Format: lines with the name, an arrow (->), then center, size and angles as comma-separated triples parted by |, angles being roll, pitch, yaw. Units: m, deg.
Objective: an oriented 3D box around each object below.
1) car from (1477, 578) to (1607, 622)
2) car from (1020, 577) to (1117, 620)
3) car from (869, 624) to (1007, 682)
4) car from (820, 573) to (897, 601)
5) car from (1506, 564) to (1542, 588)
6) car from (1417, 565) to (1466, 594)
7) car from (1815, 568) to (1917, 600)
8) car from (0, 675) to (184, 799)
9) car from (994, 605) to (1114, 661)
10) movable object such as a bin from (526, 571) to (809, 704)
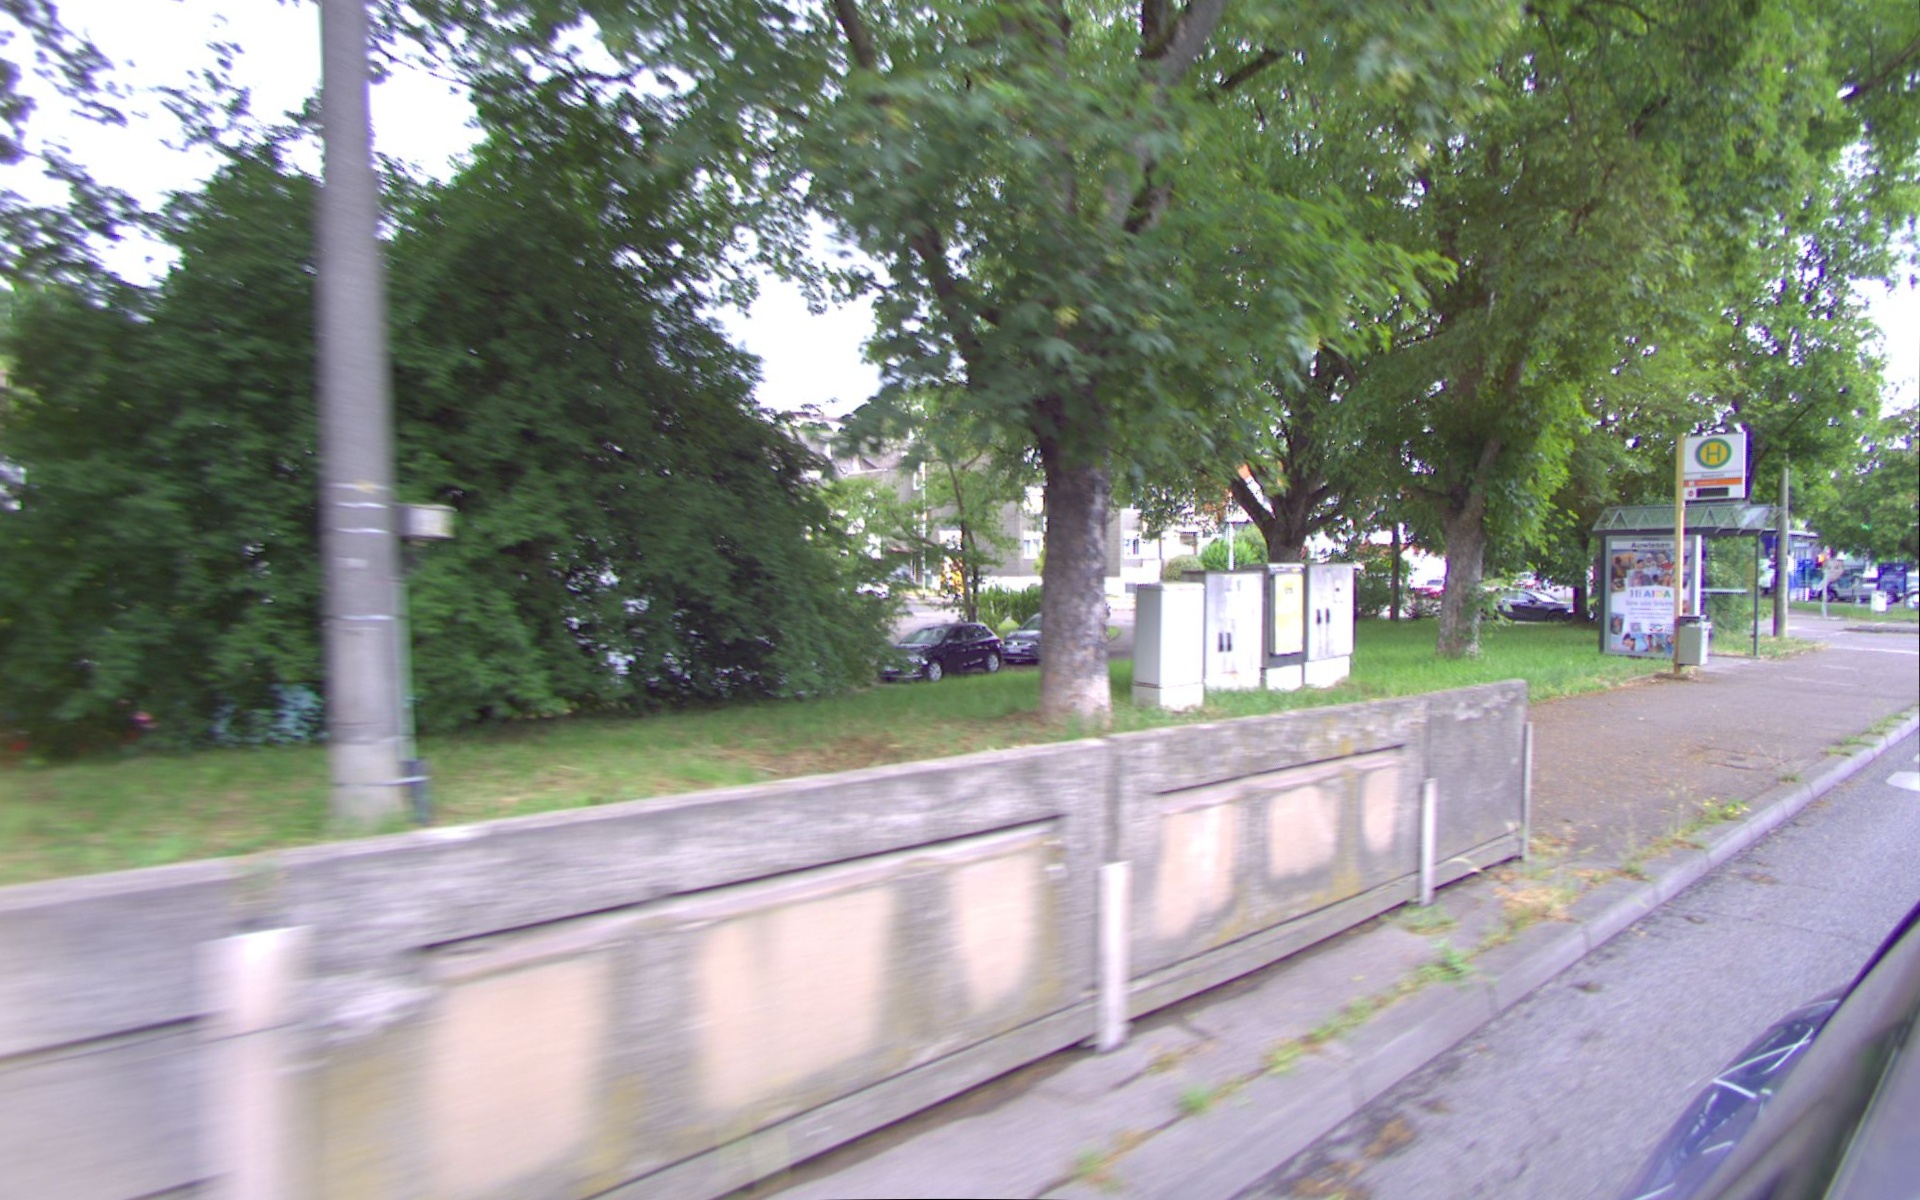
car -> 22.916, -0.063, 40.019 | 1.671, 1.544, 4.170 | -2, 3, -32
car -> 4.799, -0.075, 44.694 | 3.944, 1.788, 1.990 | -1, 0, 17
car -> -0.520, 1.364, 27.050 | 1.618, 1.262, 3.805 | -1, 1, 39
car -> -5.779, -0.785, 57.884 | 3.952, 1.536, 1.986 | 1, 1, 22
car -> 47.244, -2.030, 84.708 | 1.938, 1.865, 4.192 | -1, 1, 39
car -> 32.829, -1.382, 68.981 | 3.856, 1.865, 1.618 | -2, 1, -41
car -> 53.664, -0.983, 60.045 | 4.183, 1.718, 1.819 | 3, 3, 34
car -> -12.432, 1.817, 13.228 | 1.414, 1.342, 3.400 | -1, 1, 39
car -> 2.970, 0.972, 31.285 | 1.656, 1.479, 4.231 | -1, 1, 38
movable object such as a bin -> -6.532, 0.696, 23.414 | 1.991, 2.656, 6.180 | -1, 1, 41
